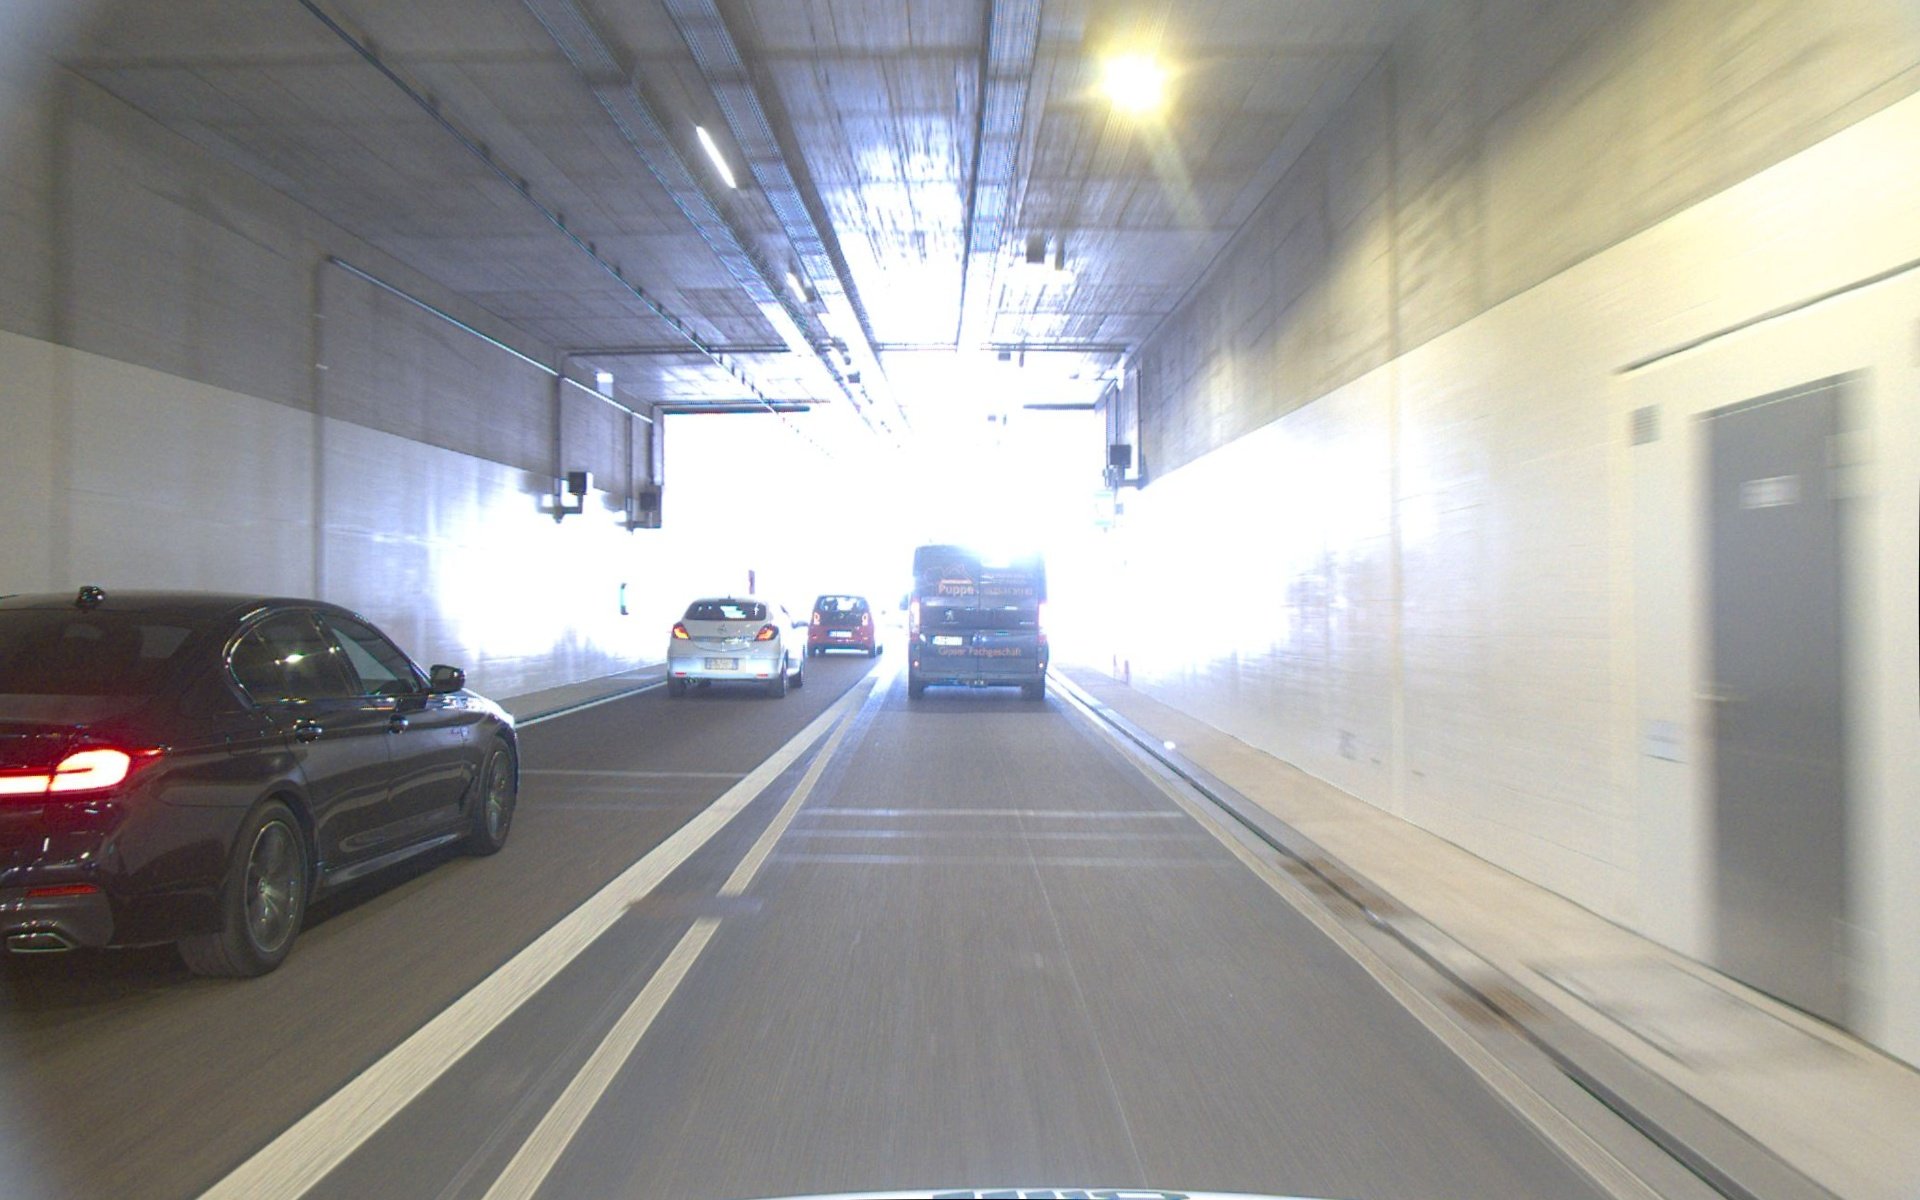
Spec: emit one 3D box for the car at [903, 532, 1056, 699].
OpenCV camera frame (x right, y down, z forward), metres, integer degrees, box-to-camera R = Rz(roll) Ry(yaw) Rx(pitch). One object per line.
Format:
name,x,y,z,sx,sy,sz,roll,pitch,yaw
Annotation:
car,0.279,0.185,25.277,2.114,2.305,4.637,0,1,0

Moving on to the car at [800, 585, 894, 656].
car,-2.641,0.460,39.470,1.777,1.538,4.222,2,0,2

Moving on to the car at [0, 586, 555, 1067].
car,-3.386,0.700,7.630,1.661,1.447,4.852,3,0,1

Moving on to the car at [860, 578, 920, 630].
car,-2.296,0.170,55.023,1.838,1.609,4.219,2,-1,-1

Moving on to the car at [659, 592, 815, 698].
car,-3.229,0.606,24.605,1.673,1.438,3.975,1,0,1
